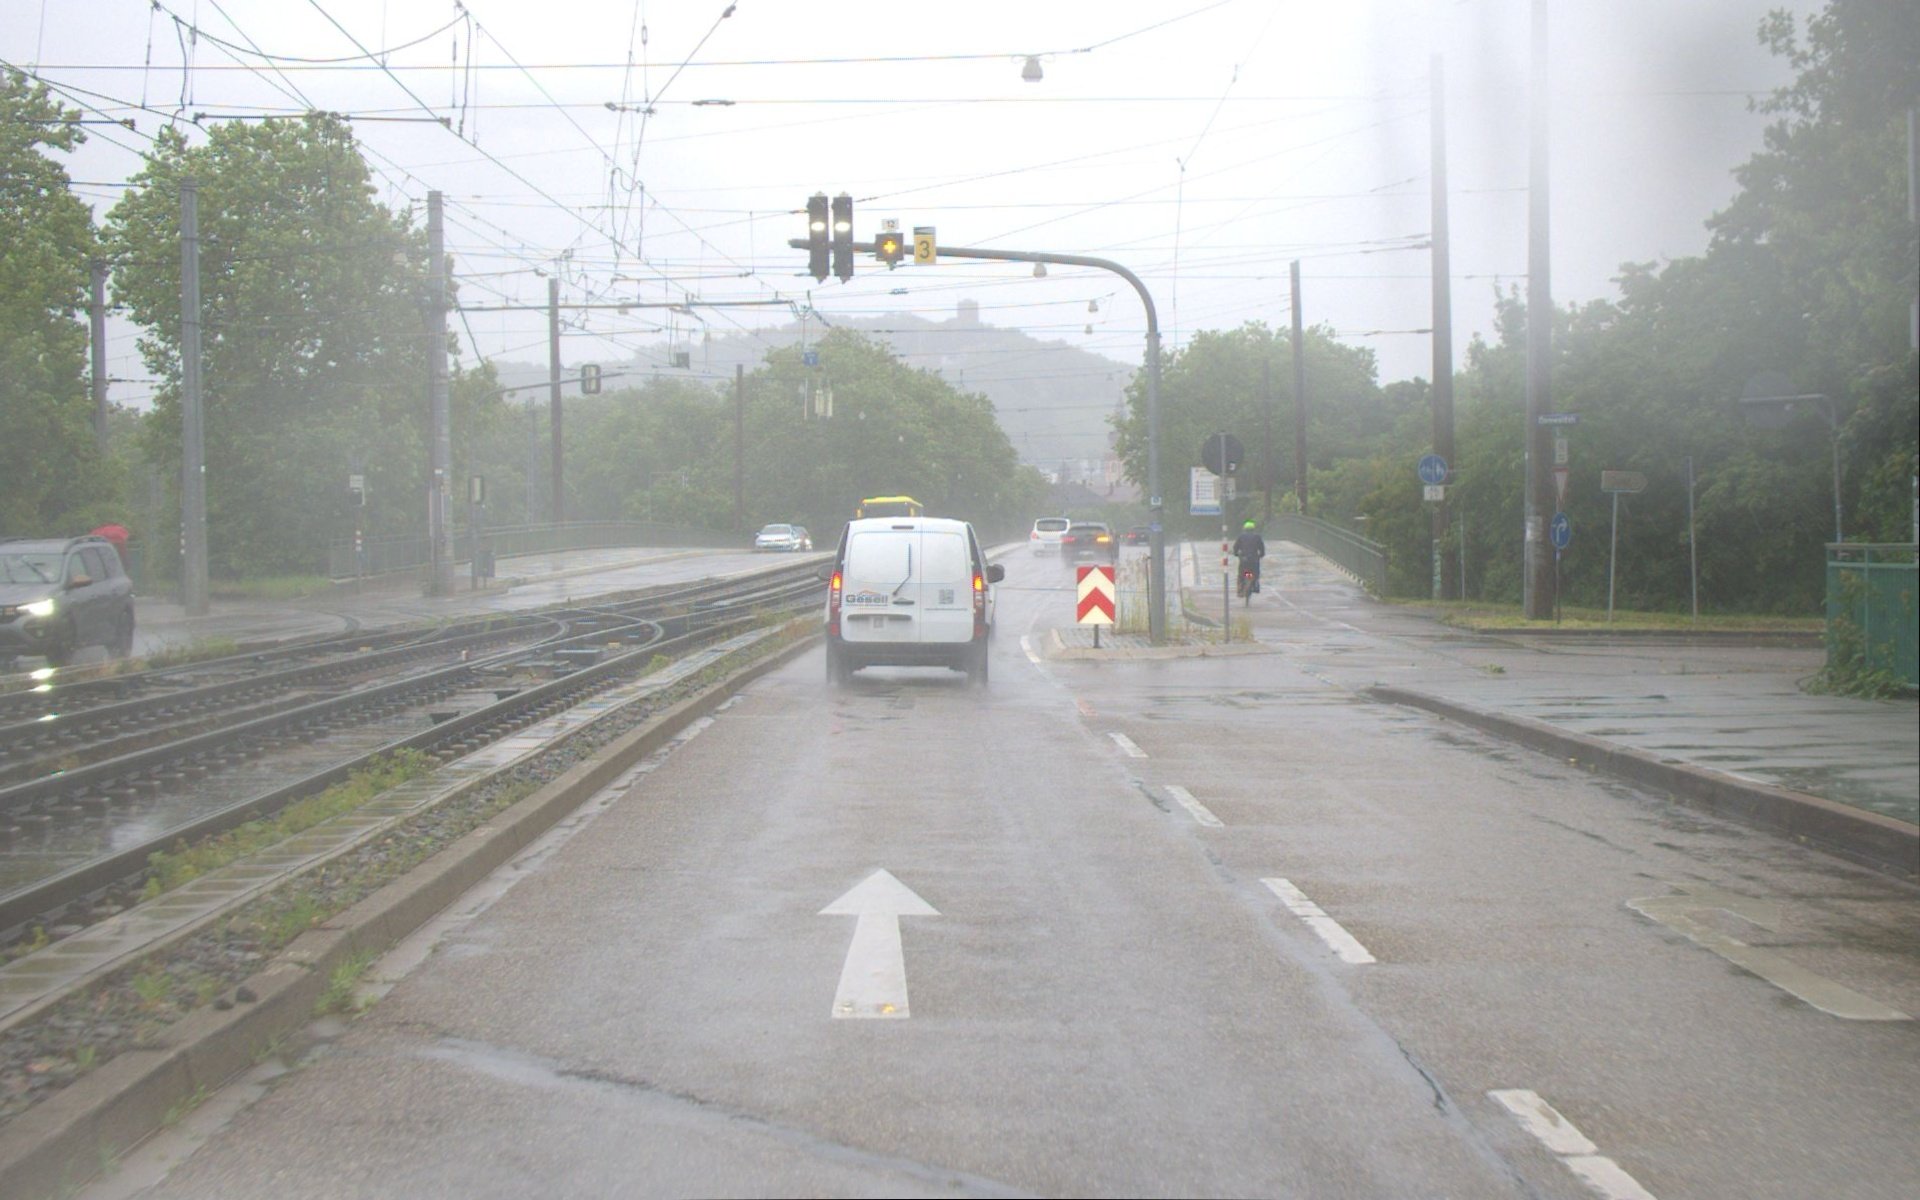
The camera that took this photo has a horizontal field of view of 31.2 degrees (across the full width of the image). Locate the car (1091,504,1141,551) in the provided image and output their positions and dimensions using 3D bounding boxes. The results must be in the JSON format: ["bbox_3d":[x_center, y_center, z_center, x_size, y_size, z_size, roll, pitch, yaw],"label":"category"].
[{"bbox_3d":[5.155,-2.394,113.636,1.451,1.494,2.982,1,1,-1],"label":"car"}]

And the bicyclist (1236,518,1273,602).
[{"bbox_3d":[6.242,-0.849,72.990,0.725,1.758,0.949,1,0,4],"label":"bicyclist"}]

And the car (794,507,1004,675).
[{"bbox_3d":[-0.615,-0.111,37.992,1.994,1.720,4.000,1,1,3],"label":"car"}]

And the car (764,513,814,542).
[{"bbox_3d":[-8.239,-3.493,165.678,1.934,1.227,4.100,-2,3,3],"label":"car"}]

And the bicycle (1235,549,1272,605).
[{"bbox_3d":[6.219,-0.499,72.984,0.723,1.125,2.167,1,1,4],"label":"bicycle"}]

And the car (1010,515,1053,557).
[{"bbox_3d":[2.638,-2.340,126.938,1.451,1.494,2.982,1,1,-1],"label":"car"}]

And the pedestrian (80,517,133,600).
[{"bbox_3d":[-18.964,-0.918,76.361,0.864,1.812,1.043,1,0,2],"label":"pedestrian"}]

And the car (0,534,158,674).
[{"bbox_3d":[-11.898,-0.001,44.200,1.993,1.643,5.372,1,1,-1],"label":"car"}]
